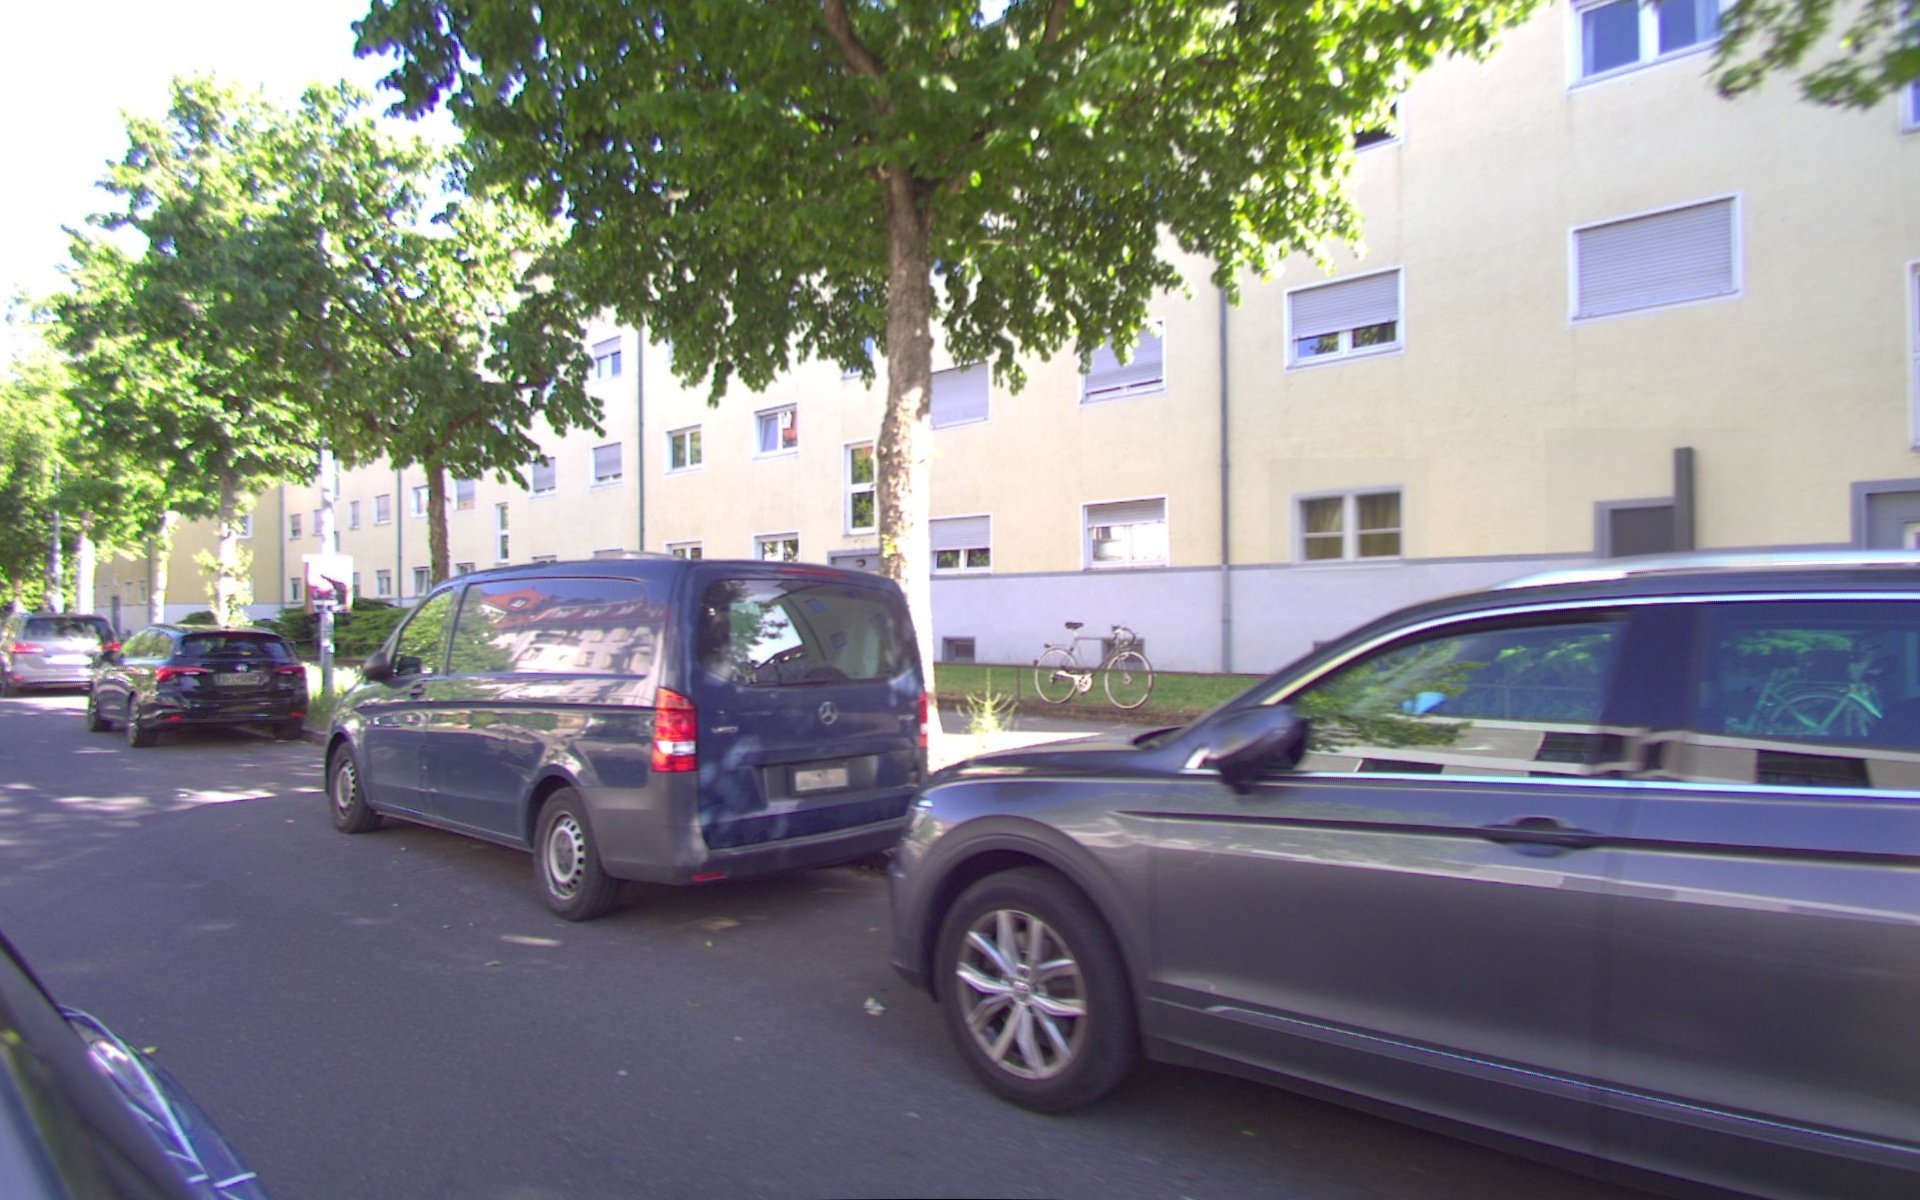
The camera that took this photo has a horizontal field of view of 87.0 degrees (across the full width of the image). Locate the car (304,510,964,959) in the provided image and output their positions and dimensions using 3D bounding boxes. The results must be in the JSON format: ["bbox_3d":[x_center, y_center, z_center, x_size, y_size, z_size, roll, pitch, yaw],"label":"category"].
[{"bbox_3d":[-2.384,0.610,6.490,4.864,1.864,1.775,-1,-2,41],"label":"car"}]

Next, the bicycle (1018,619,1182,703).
[{"bbox_3d":[1.619,0.688,11.935,1.902,0.923,0.589,-1,-2,40],"label":"bicycle"}]

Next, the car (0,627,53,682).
[{"bbox_3d":[-25.892,1.437,27.341,3.810,1.401,1.585,-1,-1,41],"label":"car"}]

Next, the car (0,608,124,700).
[{"bbox_3d":[-19.069,1.096,21.178,3.999,1.741,1.839,-1,-3,42],"label":"car"}]

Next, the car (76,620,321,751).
[{"bbox_3d":[-10.193,1.039,13.440,4.062,1.482,1.757,-1,-4,41],"label":"car"}]

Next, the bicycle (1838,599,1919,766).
[{"bbox_3d":[7.623,0.618,8.364,0.517,1.235,1.802,-1,0,42],"label":"bicycle"}]

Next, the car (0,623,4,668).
[{"bbox_3d":[-33.523,1.532,34.079,3.810,1.483,1.585,-1,-1,41],"label":"car"}]

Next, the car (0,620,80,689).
[{"bbox_3d":[-23.033,1.299,24.915,3.415,1.556,1.585,-1,-1,41],"label":"car"}]

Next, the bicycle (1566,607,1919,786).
[{"bbox_3d":[5.902,0.666,7.582,2.259,1.199,0.589,-1,-2,40],"label":"bicycle"}]

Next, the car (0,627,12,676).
[{"bbox_3d":[-29.479,1.515,30.041,3.810,1.401,1.585,-1,-1,41],"label":"car"}]

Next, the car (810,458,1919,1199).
[{"bbox_3d":[1.795,0.620,2.845,4.520,1.698,1.776,-1,-2,38],"label":"car"}]
